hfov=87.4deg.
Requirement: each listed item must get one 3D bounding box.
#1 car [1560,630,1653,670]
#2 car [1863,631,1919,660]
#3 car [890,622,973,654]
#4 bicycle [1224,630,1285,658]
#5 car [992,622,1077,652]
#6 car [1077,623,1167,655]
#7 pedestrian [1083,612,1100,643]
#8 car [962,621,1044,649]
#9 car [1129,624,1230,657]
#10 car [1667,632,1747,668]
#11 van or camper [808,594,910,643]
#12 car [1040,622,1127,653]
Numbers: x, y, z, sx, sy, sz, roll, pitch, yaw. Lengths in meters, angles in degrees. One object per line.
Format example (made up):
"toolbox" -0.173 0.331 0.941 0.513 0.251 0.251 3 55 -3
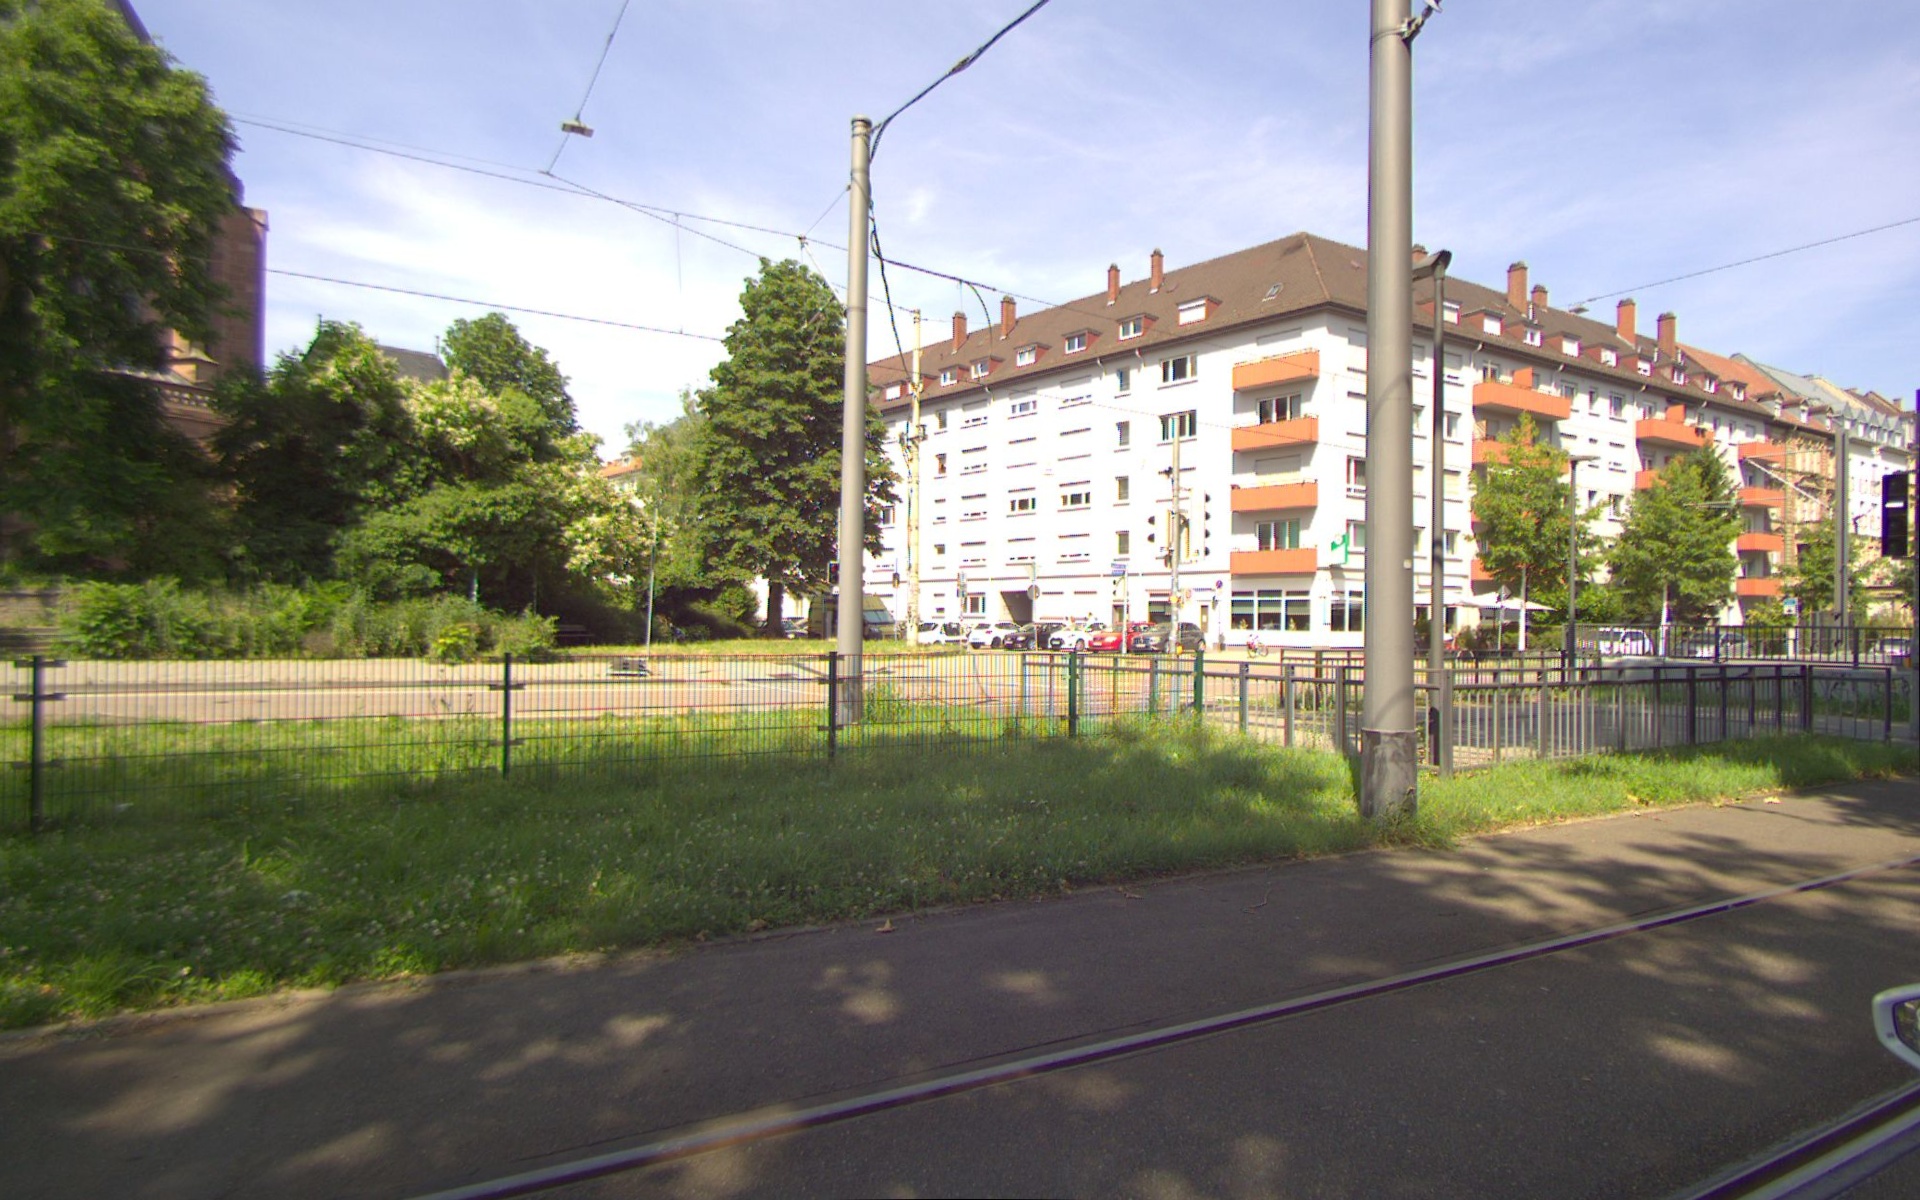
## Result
"car" 25.675 1.979 39.862 3.961 1.518 1.759 2 -3 -36
"car" 51.270 2.488 55.112 3.961 1.518 1.758 2 -1 -36
"car" -1.358 1.745 46.695 3.702 1.425 1.823 0 -2 44
"bicycle" 12.603 1.874 42.953 2.779 1.152 0.905 2 -1 -34
"car" 3.847 1.887 51.298 4.129 1.425 1.917 2 -1 -38
"car" 7.677 1.812 47.416 4.129 1.425 1.917 2 -1 -38
"pedestrian" 7.015 1.470 53.644 0.679 1.593 0.544 0 -1 36
"car" 2.313 1.863 53.600 4.129 1.425 1.917 2 -1 -38
"car" 9.843 1.794 44.820 4.598 1.394 1.821 2 -1 -36
"car" 33.003 2.183 44.355 3.961 1.518 1.759 2 -3 -36
"van or camper" -5.202 0.934 51.060 2.228 2.360 5.704 2 -1 -42
"car" 6.136 1.841 49.733 4.129 1.425 1.917 2 -1 -38
